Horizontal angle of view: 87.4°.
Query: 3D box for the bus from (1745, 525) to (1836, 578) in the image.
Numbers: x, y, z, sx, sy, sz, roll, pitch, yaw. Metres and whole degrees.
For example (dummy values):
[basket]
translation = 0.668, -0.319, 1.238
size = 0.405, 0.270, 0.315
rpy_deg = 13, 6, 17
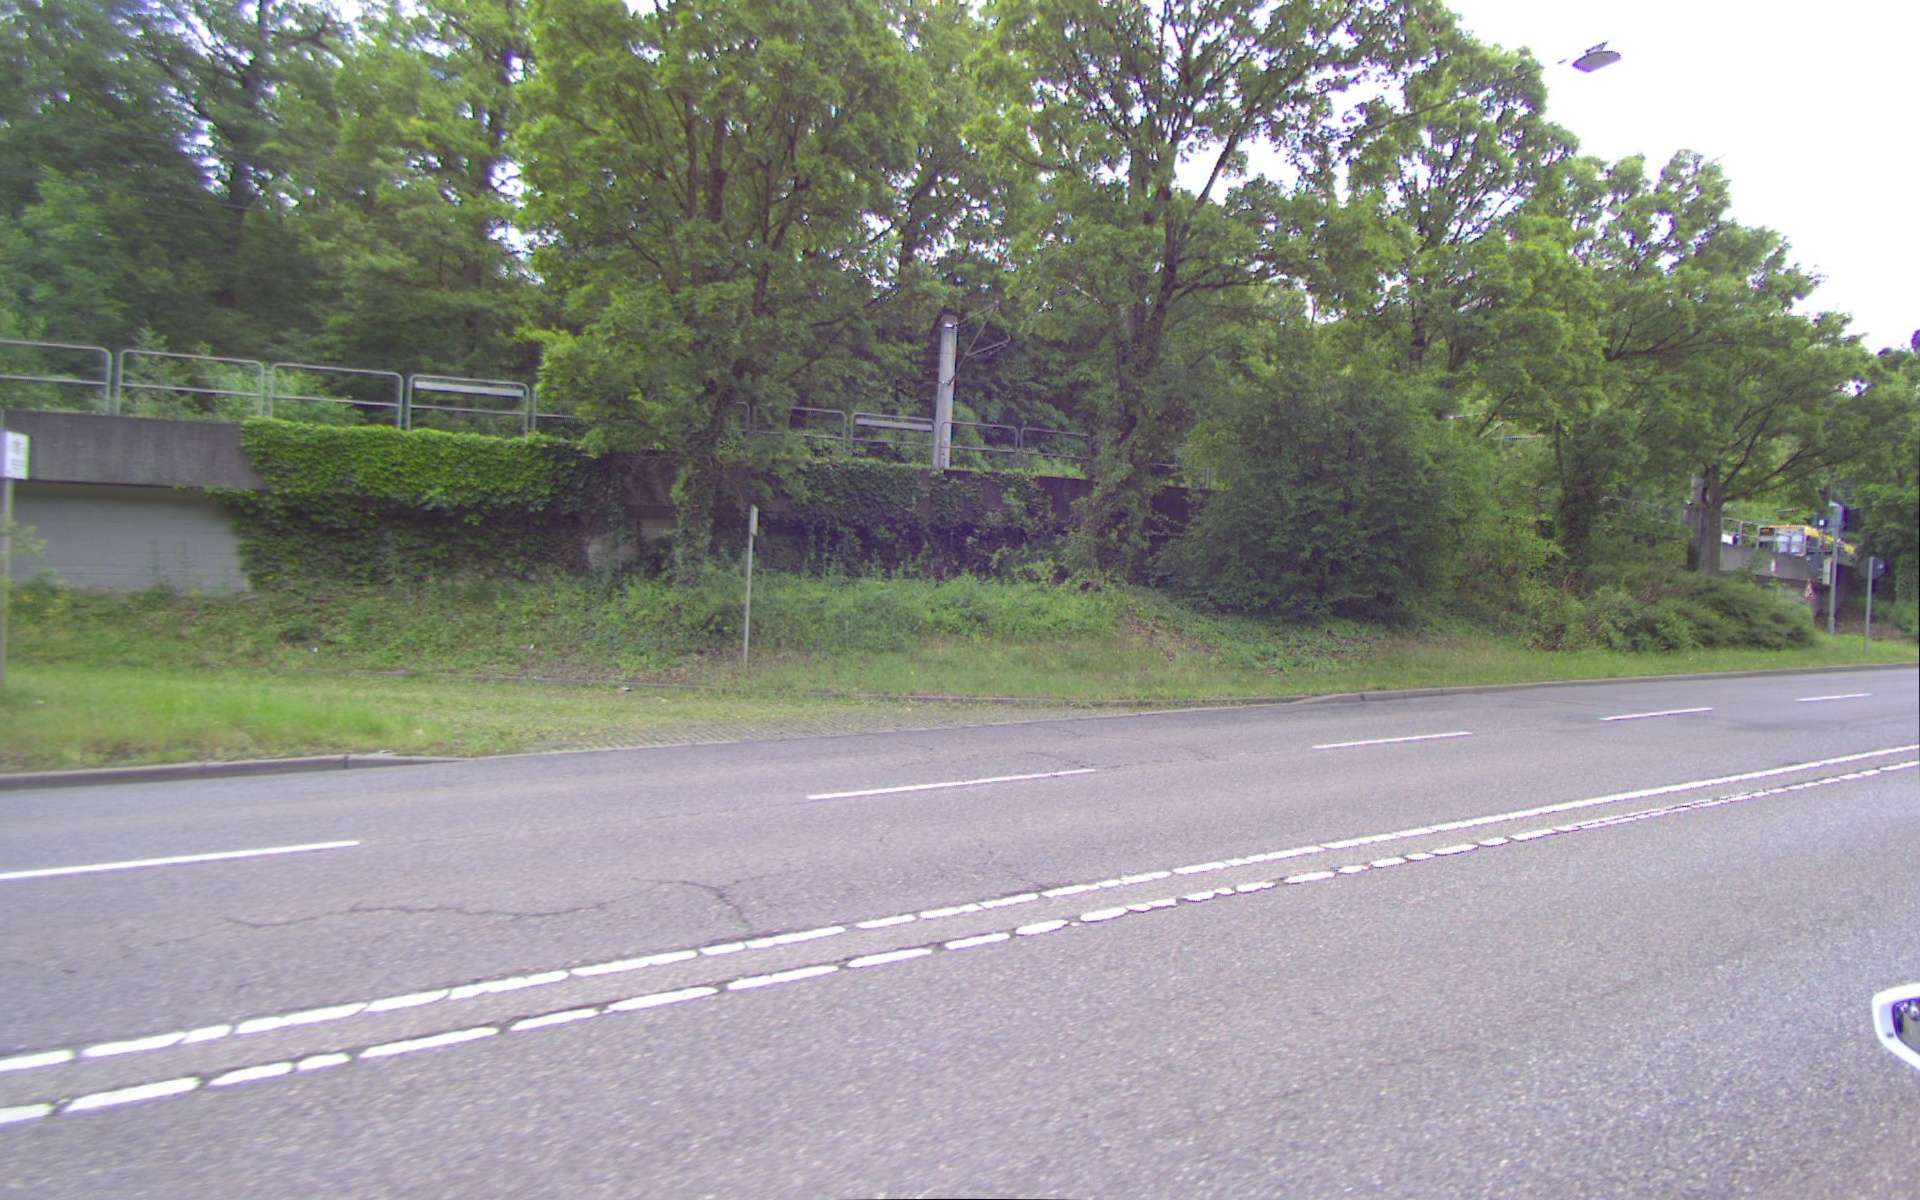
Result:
[bus]
translation = 53.027, -2.994, 64.061
size = 7.867, 2.826, 2.523
rpy_deg = 2, 0, -36
